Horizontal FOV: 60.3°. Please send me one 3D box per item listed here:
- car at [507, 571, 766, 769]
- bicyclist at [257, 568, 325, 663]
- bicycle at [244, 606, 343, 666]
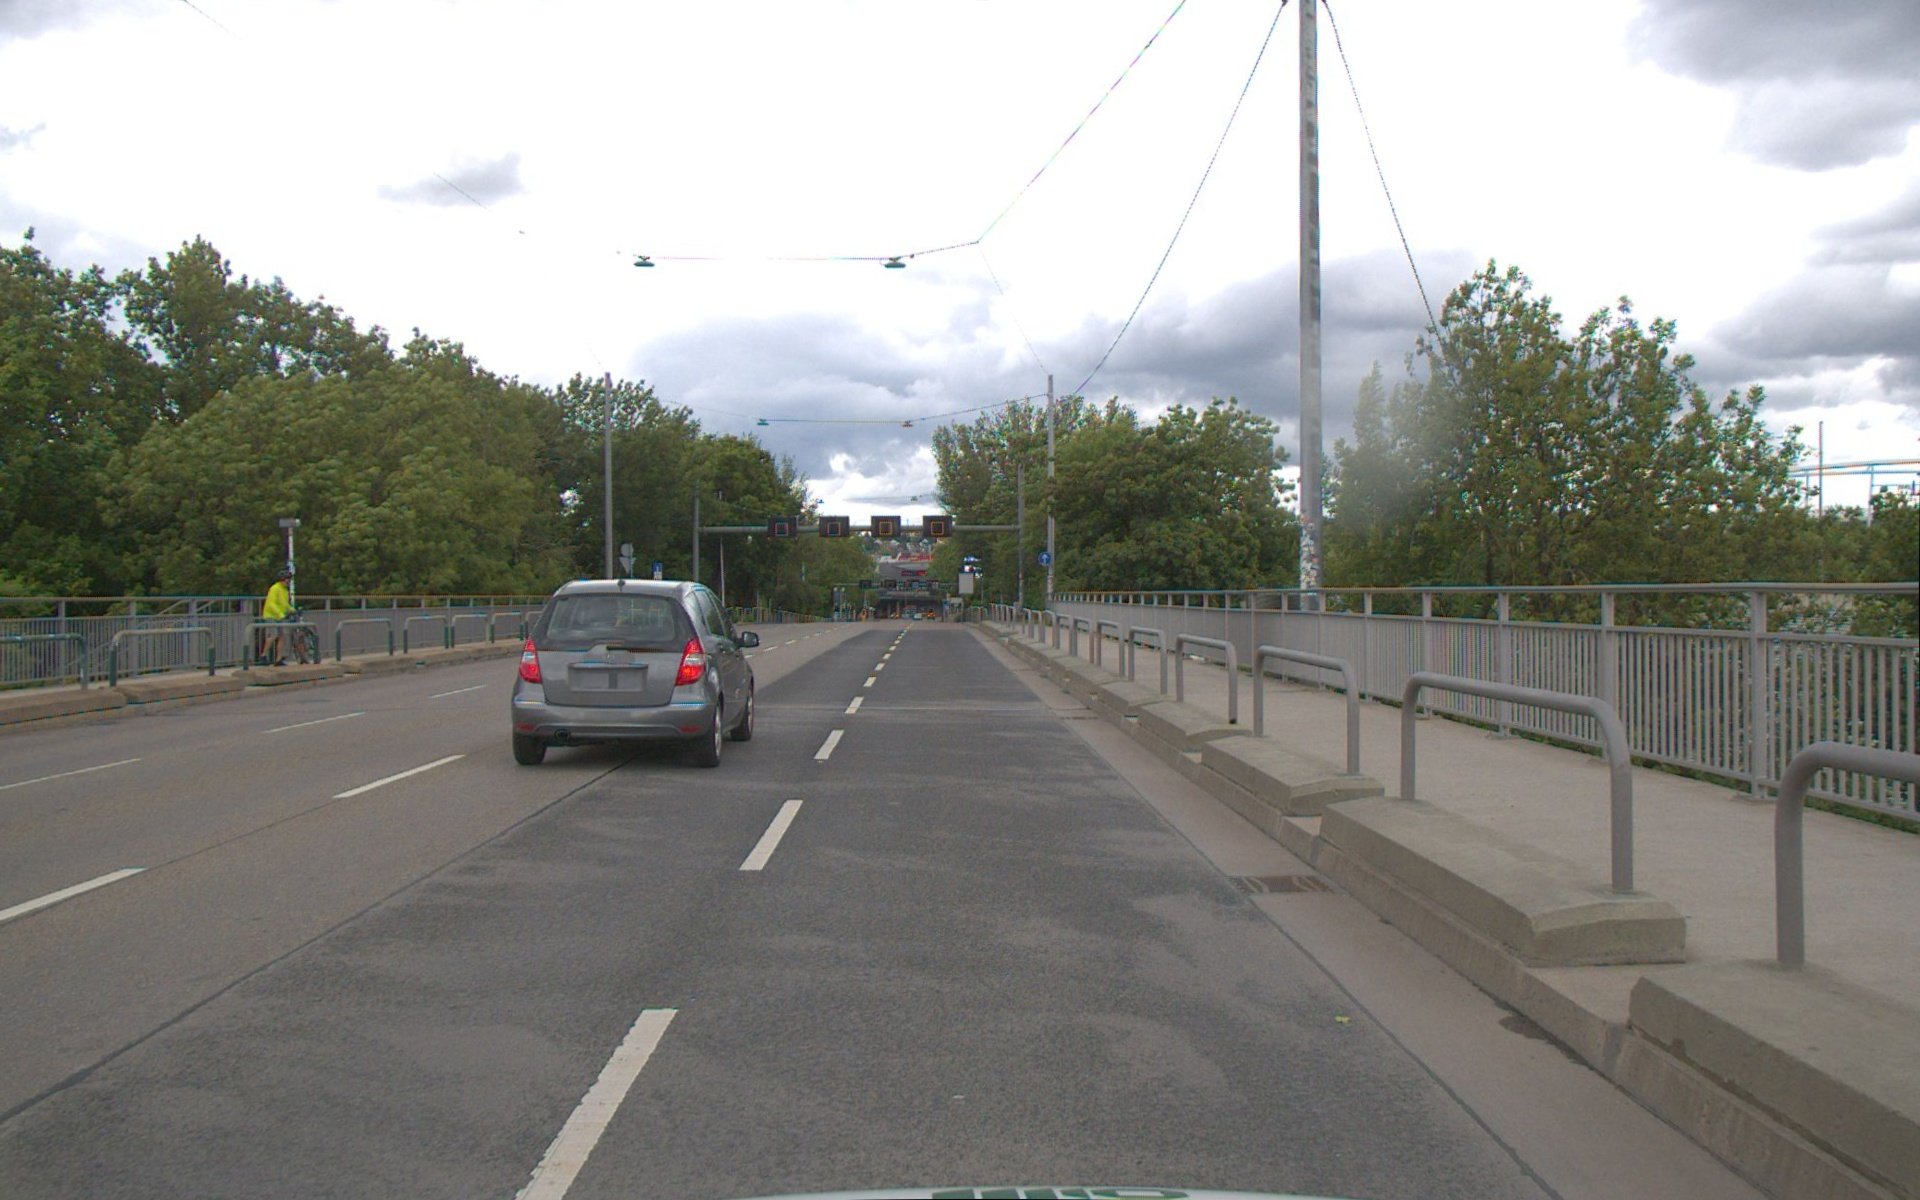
[{"bbox_3d":[-2.833,0.533,15.277,1.710,1.577,3.870,0,1,-2],"label":"car"},{"bbox_3d":[-12.903,0.293,31.888,0.898,1.795,1.118,0,0,-42],"label":"bicyclist"},{"bbox_3d":[-12.849,0.672,31.824,0.913,1.069,2.757,0,0,-42],"label":"bicycle"}]
